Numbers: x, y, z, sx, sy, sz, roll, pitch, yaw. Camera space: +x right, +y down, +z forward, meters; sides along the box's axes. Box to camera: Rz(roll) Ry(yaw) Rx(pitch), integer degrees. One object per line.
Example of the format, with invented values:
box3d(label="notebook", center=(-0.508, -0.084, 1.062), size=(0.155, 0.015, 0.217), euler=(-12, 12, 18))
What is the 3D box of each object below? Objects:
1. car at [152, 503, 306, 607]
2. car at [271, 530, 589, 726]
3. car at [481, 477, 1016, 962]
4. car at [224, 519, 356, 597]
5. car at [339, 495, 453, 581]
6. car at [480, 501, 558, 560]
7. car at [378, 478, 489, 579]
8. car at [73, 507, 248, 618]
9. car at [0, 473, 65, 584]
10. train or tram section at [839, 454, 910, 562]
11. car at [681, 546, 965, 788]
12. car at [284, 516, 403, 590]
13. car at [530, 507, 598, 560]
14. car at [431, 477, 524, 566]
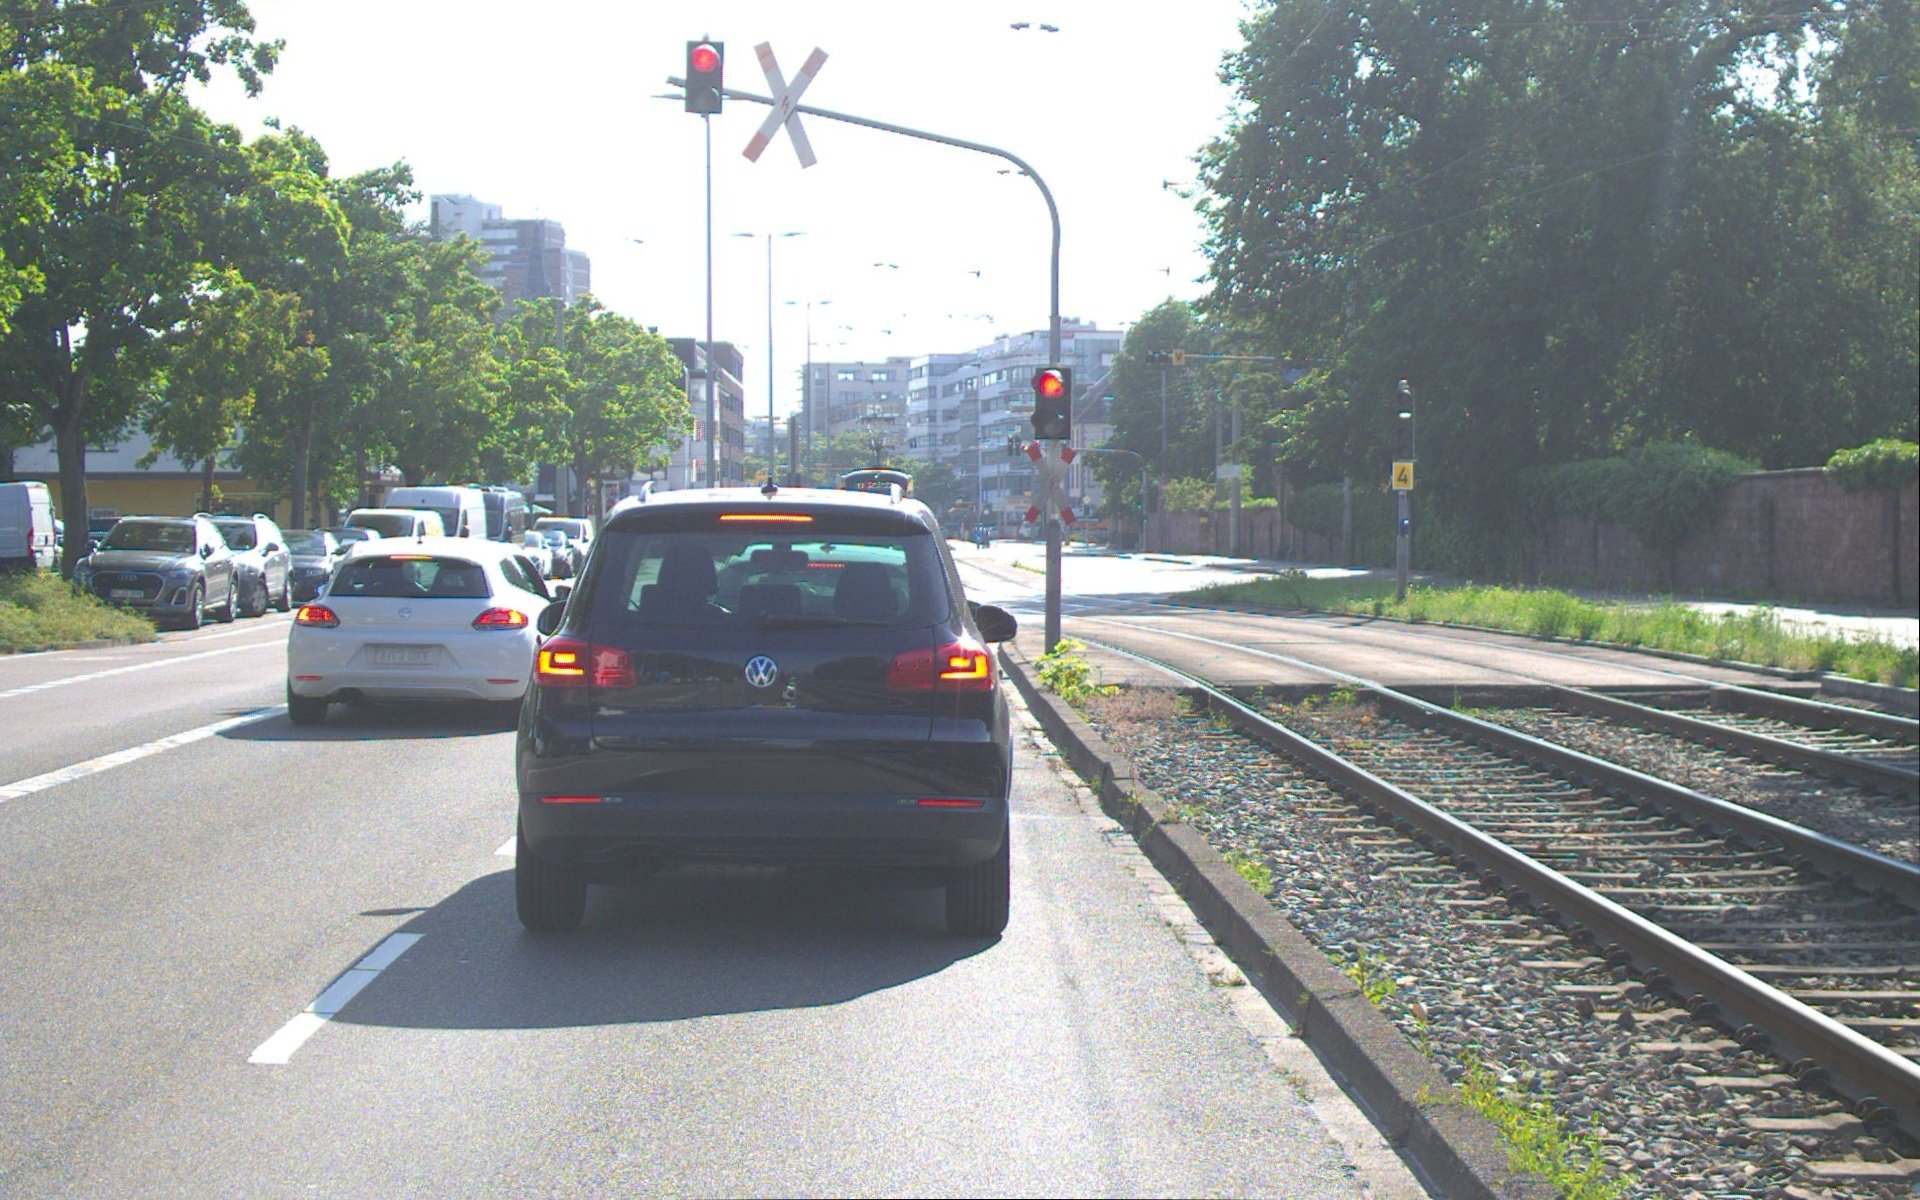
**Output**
box3d(label="car", center=(-12.446, -0.801, 58.765), size=(1.732, 1.688, 4.000), euler=(0, 2, 1))
box3d(label="car", center=(-3.971, 0.156, 26.339), size=(1.864, 1.343, 4.000), euler=(1, 2, -1))
box3d(label="car", center=(-0.754, 0.370, 13.784), size=(1.811, 1.639, 4.000), euler=(1, 1, -1))
box3d(label="car", center=(-12.631, -0.822, 65.002), size=(1.732, 1.384, 3.735), euler=(0, 2, 1))
box3d(label="car", center=(-12.460, -1.399, 76.198), size=(1.732, 1.853, 4.489), euler=(0, 2, 1))
box3d(label="car", center=(-12.981, -2.072, 101.339), size=(1.732, 1.688, 4.000), euler=(0, 2, 1))
box3d(label="car", center=(-12.643, -1.735, 82.867), size=(1.863, 2.339, 4.985), euler=(0, 2, 1))
box3d(label="car", center=(-12.325, -0.609, 53.210), size=(1.732, 1.652, 4.000), euler=(0, 2, 1))
box3d(label="car", center=(-22.739, -1.575, 75.928), size=(5.375, 2.415, 2.088), euler=(0, 1, -1))
box3d(label="train or tram section", center=(-2.915, -3.171, 118.695), size=(2.326, 3.557, 8.901), euler=(0, 2, -1))
box3d(label="car", center=(-0.837, 0.365, 22.332), size=(1.669, 1.382, 4.000), euler=(0, 2, -1))
box3d(label="car", center=(-12.683, -0.992, 70.884), size=(1.732, 1.445, 3.735), euler=(0, 2, 1))
box3d(label="car", center=(-12.943, -2.190, 112.636), size=(1.732, 1.688, 4.000), euler=(0, 2, 1))
box3d(label="car", center=(-12.555, -2.054, 89.691), size=(1.732, 2.261, 4.645), euler=(0, 2, 1))
